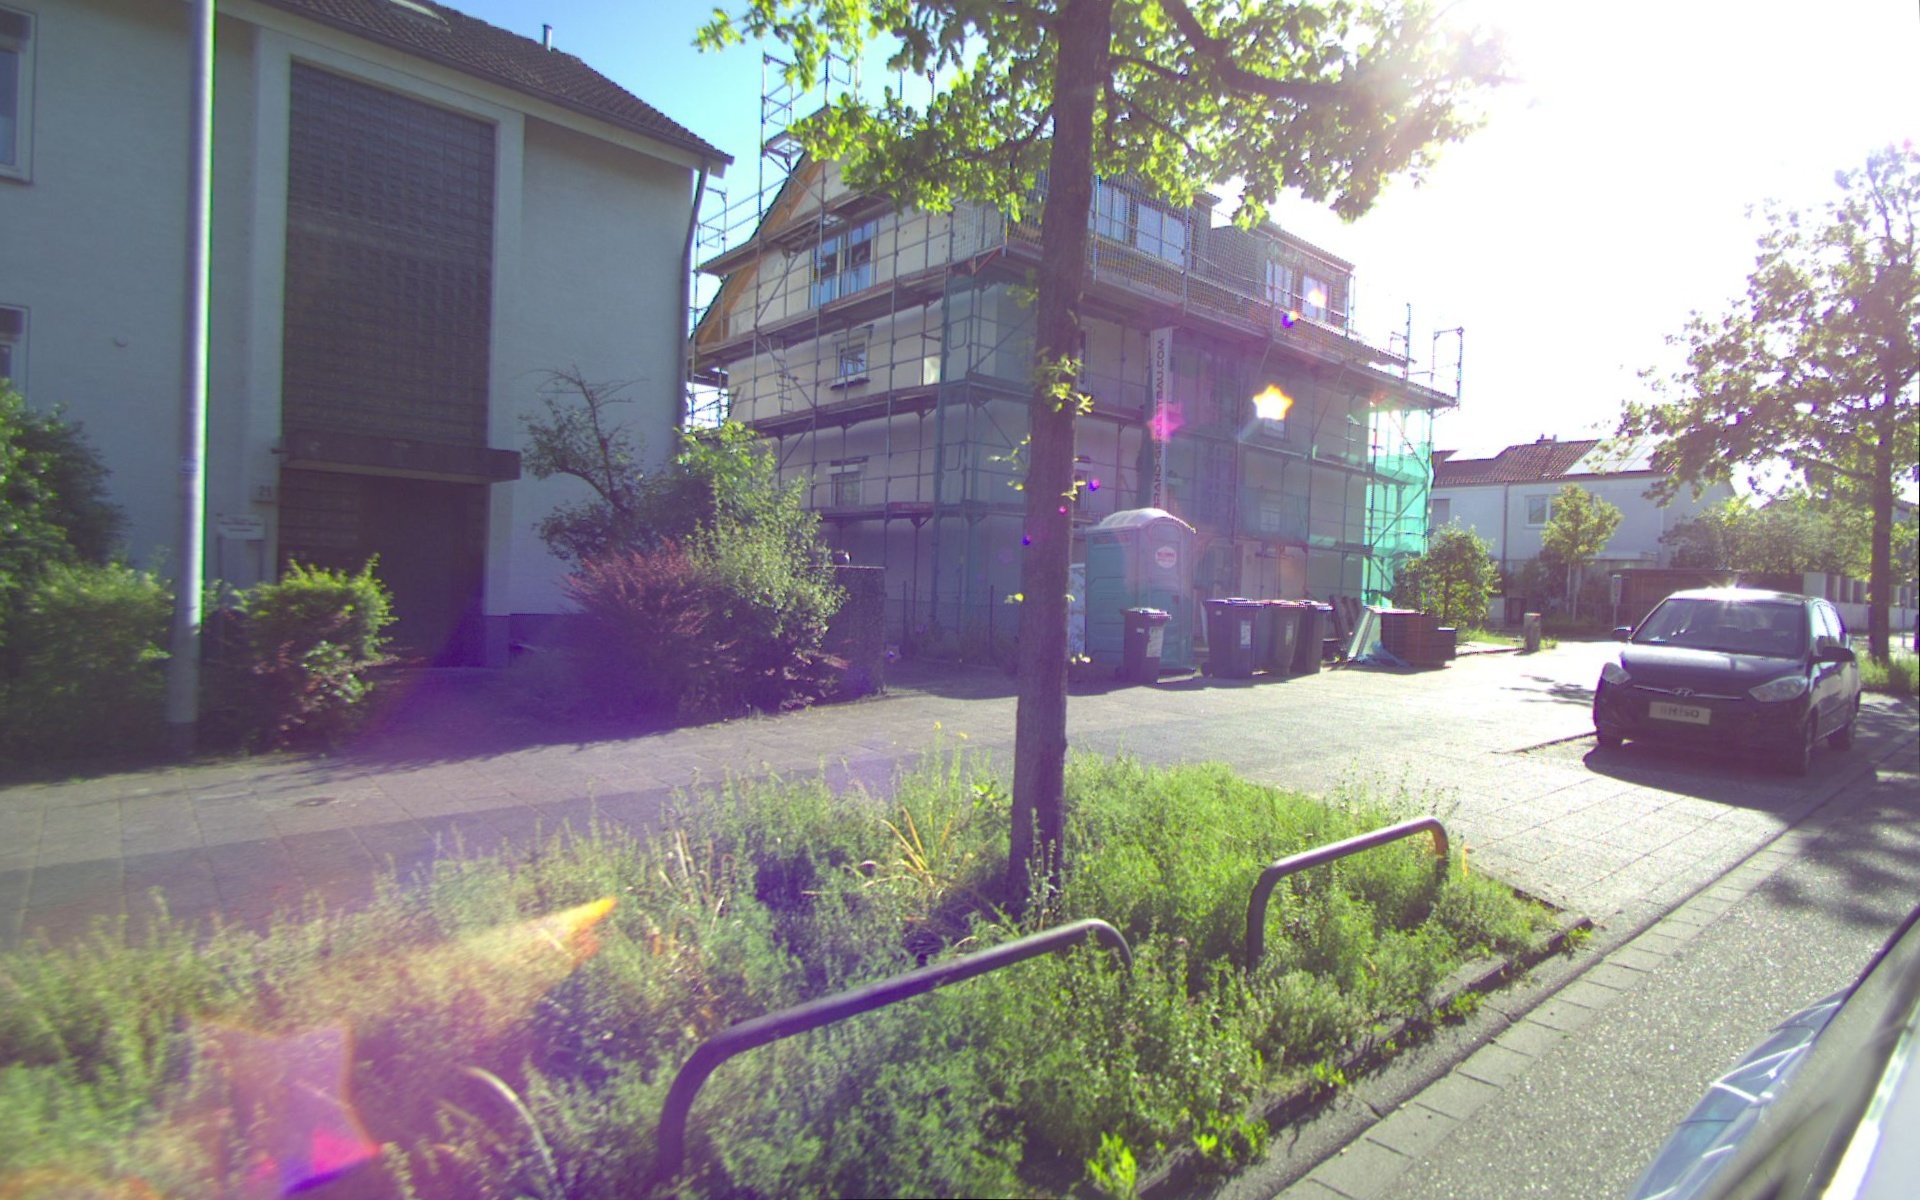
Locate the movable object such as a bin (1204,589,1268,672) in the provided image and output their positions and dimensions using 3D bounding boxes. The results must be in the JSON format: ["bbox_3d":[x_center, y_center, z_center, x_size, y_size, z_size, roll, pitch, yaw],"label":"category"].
[{"bbox_3d":[3.765,0.397,13.807,0.557,1.082,0.605,0,2,-41],"label":"movable object such as a bin"}]

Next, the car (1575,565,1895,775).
[{"bbox_3d":[7.659,0.542,9.888,3.685,1.597,1.676,0,4,-41],"label":"car"}]

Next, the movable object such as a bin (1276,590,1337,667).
[{"bbox_3d":[5.147,0.410,15.040,0.635,1.082,0.605,0,2,-41],"label":"movable object such as a bin"}]

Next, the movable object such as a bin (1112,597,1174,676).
[{"bbox_3d":[2.288,0.443,12.672,0.539,0.944,0.530,0,2,-41],"label":"movable object such as a bin"}]

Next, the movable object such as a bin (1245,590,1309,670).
[{"bbox_3d":[4.486,0.412,14.326,0.635,1.082,0.605,0,2,-41],"label":"movable object such as a bin"}]
